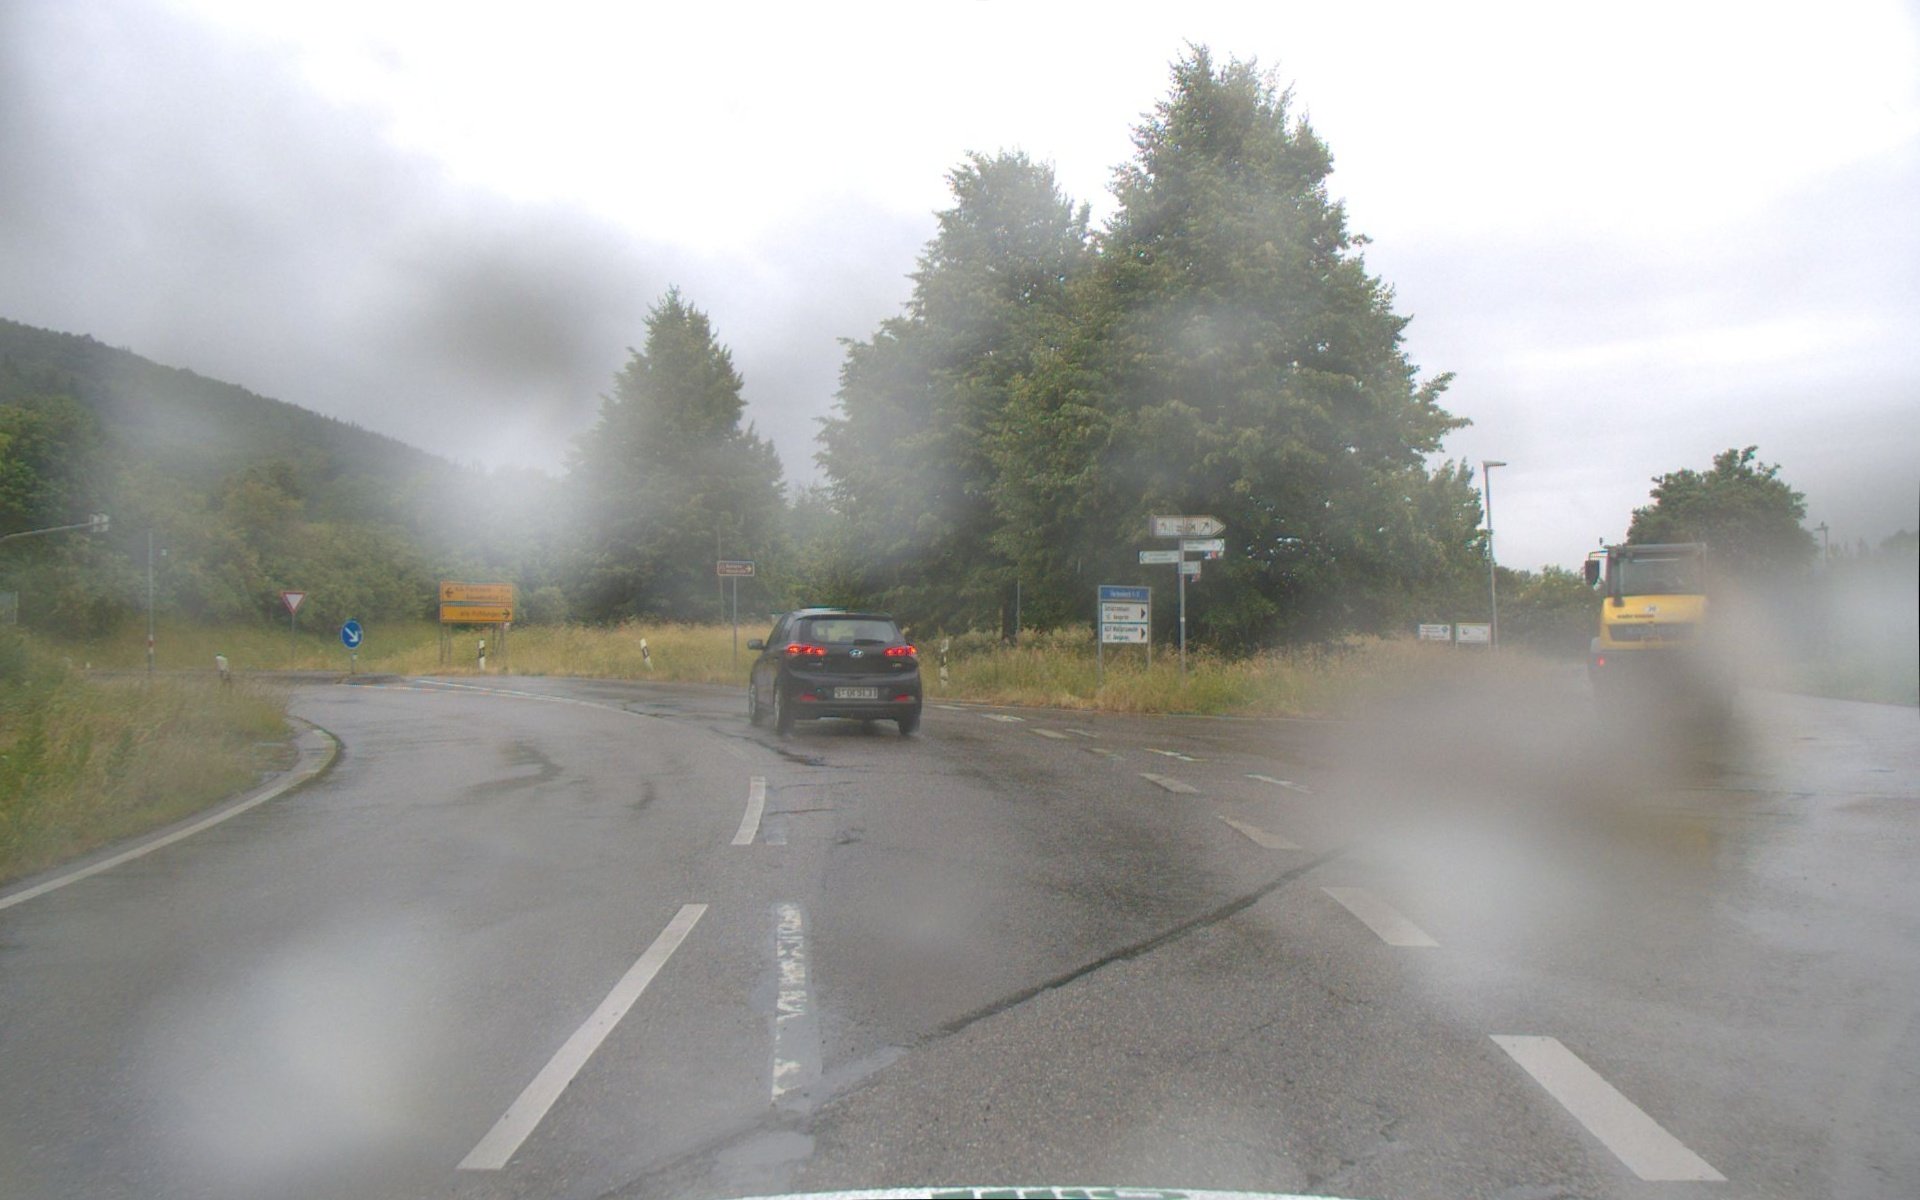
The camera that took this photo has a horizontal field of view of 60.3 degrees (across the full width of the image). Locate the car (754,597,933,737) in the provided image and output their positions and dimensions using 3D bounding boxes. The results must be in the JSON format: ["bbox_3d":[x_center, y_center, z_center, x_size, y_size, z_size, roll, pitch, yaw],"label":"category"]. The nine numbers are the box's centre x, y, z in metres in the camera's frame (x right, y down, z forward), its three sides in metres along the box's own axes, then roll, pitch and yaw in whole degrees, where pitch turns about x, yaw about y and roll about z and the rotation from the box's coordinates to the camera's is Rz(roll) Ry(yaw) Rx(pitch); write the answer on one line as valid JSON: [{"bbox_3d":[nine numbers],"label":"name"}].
[{"bbox_3d":[-1.477,0.789,20.497,1.955,1.513,3.995,2,-1,-5],"label":"car"}]

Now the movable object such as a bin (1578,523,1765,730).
[{"bbox_3d":[10.942,0.433,25.104,2.202,2.716,6.618,1,-1,27],"label":"movable object such as a bin"}]
